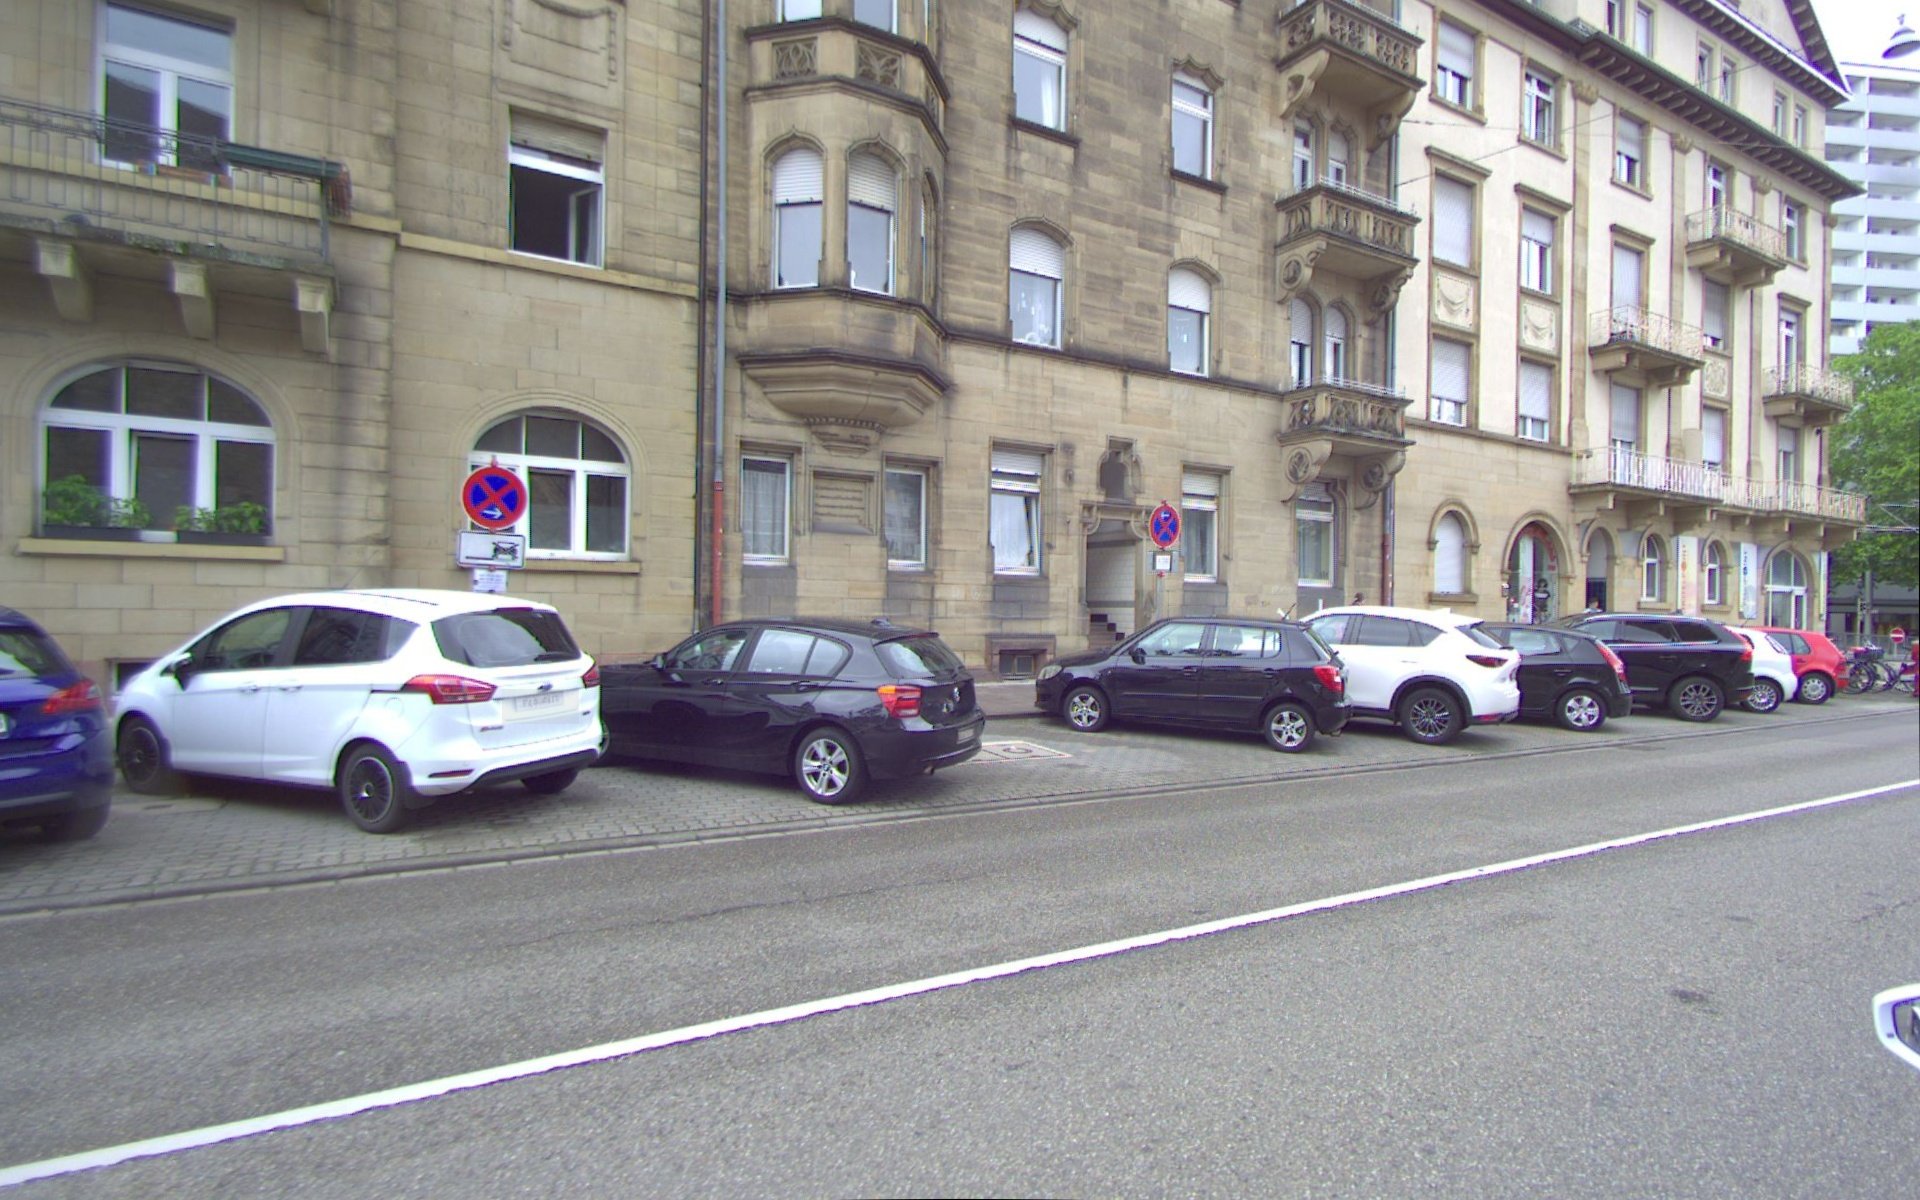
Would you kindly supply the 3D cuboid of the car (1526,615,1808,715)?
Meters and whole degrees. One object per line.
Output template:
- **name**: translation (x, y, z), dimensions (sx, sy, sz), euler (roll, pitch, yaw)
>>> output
- **car**: translation (12.954, 1.142, 18.671), dimensions (3.920, 1.492, 1.564), euler (3, 2, 18)

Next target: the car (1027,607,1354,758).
- **car**: translation (2.889, 0.931, 12.552), dimensions (3.738, 1.517, 1.569), euler (2, 0, 22)

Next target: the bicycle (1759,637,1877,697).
- **bicycle**: translation (19.020, 1.463, 22.326), dimensions (0.437, 1.050, 1.876), euler (1, 5, -31)

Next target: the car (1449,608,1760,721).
- **car**: translation (10.827, 1.032, 17.231), dimensions (4.141, 1.673, 1.732), euler (1, 0, 18)

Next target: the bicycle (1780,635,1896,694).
- **bicycle**: translation (20.024, 1.449, 22.957), dimensions (0.437, 1.050, 1.876), euler (1, 5, -31)

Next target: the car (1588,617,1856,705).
- **car**: translation (15.272, 1.185, 20.350), dimensions (3.919, 1.492, 1.685), euler (2, 1, 12)

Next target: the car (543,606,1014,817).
- **car**: translation (-1.659, 0.853, 9.086), dimensions (3.924, 1.436, 1.660), euler (2, 0, 25)

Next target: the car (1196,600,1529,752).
- **car**: translation (5.494, 0.923, 13.887), dimensions (3.935, 1.746, 1.835), euler (1, 0, 36)

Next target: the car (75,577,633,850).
- **car**: translation (-4.701, 0.690, 7.799), dimensions (3.922, 1.575, 1.702), euler (3, 2, 22)

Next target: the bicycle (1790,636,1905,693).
- **bicycle**: translation (20.547, 1.480, 23.308), dimensions (0.437, 1.050, 1.876), euler (1, 5, -31)

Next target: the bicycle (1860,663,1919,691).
- **bicycle**: translation (22.321, 1.846, 23.326), dimensions (1.017, 0.451, 1.876), euler (0, 6, -31)

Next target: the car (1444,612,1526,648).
- **car**: translation (13.176, 0.752, 25.204), dimensions (1.991, 0.845, 0.909), euler (2, -1, -31)

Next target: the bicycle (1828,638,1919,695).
- **bicycle**: translation (21.283, 1.526, 23.091), dimensions (0.437, 1.050, 1.876), euler (1, 5, -31)

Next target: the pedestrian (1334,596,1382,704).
- **pedestrian**: translation (7.496, 0.932, 18.927), dimensions (0.544, 1.984, 0.616), euler (1, -1, -29)

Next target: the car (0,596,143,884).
- **car**: translation (-6.882, 0.723, 6.083), dimensions (3.682, 1.465, 1.820), euler (3, 2, 30)

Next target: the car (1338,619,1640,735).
- **car**: translation (8.006, 1.104, 15.591), dimensions (3.923, 1.514, 1.731), euler (1, 0, 23)

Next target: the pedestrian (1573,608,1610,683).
- **pedestrian**: translation (15.462, 1.108, 24.604), dimensions (0.544, 1.809, 0.564), euler (1, -1, -29)

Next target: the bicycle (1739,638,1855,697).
- **bicycle**: translation (18.283, 1.445, 21.995), dimensions (0.436, 1.050, 1.879), euler (1, 4, -26)

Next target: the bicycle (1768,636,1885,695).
- **bicycle**: translation (19.470, 1.456, 22.608), dimensions (0.437, 1.050, 1.876), euler (1, 5, -31)
